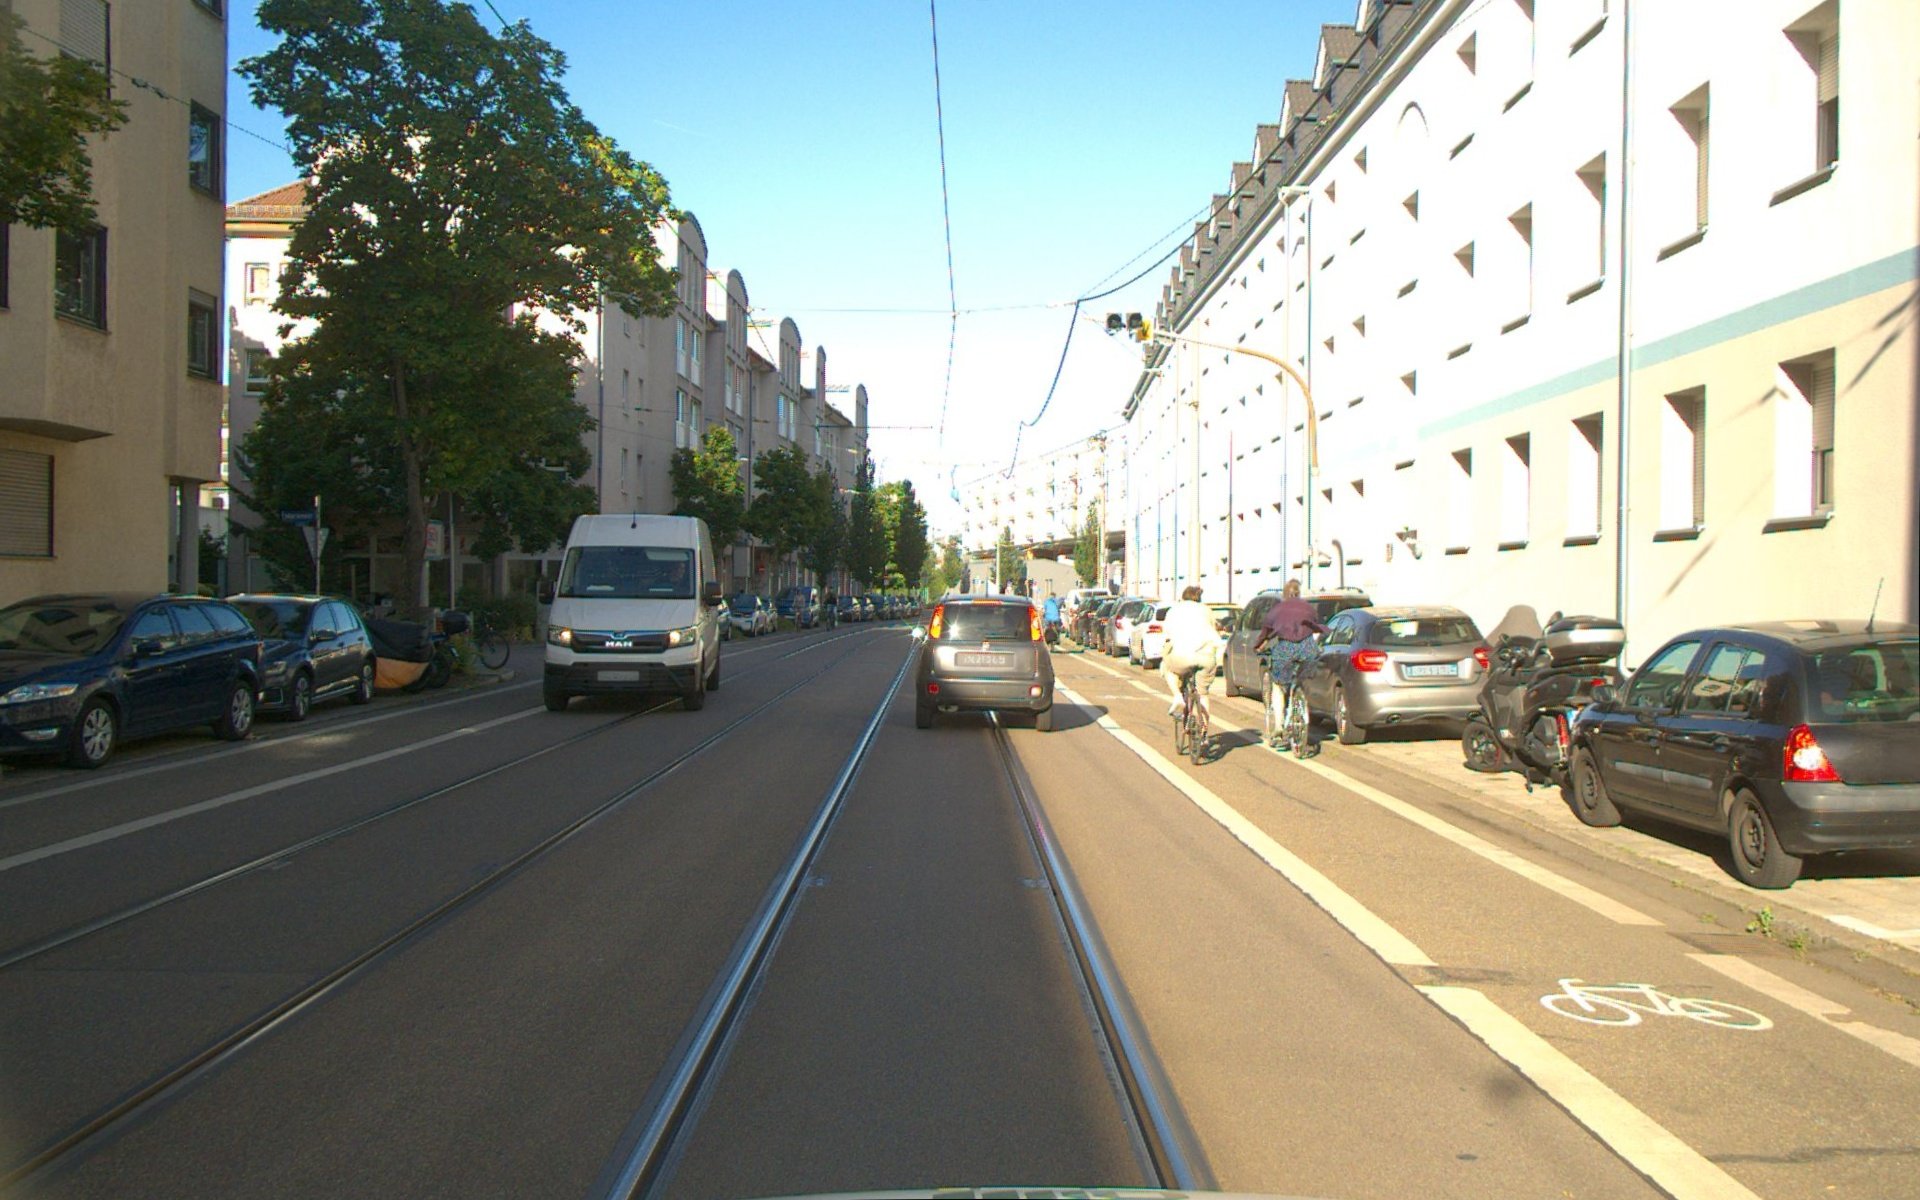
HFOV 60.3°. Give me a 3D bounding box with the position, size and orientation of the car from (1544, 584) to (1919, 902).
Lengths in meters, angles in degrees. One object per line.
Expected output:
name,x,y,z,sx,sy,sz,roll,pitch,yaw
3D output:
car,5.120,0.717,10.367,1.575,1.598,3.904,-1,0,1

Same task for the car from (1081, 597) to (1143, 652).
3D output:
car,4.574,0.717,50.276,1.559,1.564,4.008,-2,0,1

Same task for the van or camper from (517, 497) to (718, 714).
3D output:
van or camper,-4.629,0.063,23.391,2.325,2.598,6.822,1,0,-8

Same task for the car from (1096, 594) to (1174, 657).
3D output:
car,4.780,0.663,45.610,1.718,1.598,3.904,-3,0,1

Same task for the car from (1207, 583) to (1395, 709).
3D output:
car,5.001,0.623,24.889,1.719,1.695,4.624,-1,0,-2

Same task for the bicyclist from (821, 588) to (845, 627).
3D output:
bicyclist,-5.352,0.330,69.704,0.864,1.588,0.868,-3,0,-1

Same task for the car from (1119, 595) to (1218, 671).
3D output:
car,4.699,0.703,37.789,1.645,1.598,4.509,-1,0,0

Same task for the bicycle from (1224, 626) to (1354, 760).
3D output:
bicycle,3.449,0.938,17.575,0.804,1.258,2.461,2,0,-1

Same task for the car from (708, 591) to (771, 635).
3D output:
car,-8.548,0.485,64.507,1.792,1.621,4.001,1,0,2

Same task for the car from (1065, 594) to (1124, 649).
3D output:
car,4.488,0.679,55.660,1.626,1.699,3.904,-3,0,0

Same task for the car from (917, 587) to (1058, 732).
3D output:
car,0.261,0.644,19.836,1.525,1.560,3.485,1,0,-1

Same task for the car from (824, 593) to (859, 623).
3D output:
car,-6.749,0.454,94.423,1.630,1.646,4.001,1,0,1

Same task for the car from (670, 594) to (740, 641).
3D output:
car,-8.669,0.563,56.525,1.792,1.515,3.999,-1,0,-1

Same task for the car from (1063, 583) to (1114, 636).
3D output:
car,5.063,0.374,65.574,1.750,2.005,4.155,-1,0,1

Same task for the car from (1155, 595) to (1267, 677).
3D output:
car,5.004,0.677,33.462,1.483,1.455,4.200,-4,0,-1

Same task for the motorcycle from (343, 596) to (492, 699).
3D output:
motorcycle,-7.967,0.687,24.357,1.931,1.472,0.835,1,0,-8

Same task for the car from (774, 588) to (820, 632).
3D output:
car,-7.733,0.465,78.621,1.630,2.021,4.344,1,0,1

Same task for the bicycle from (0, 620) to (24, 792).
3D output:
bicycle,-8.733,0.828,13.069,2.246,1.357,0.699,1,0,-1

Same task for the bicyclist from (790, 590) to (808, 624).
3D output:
bicyclist,-6.810,0.283,70.032,0.610,1.404,0.868,-4,0,-1

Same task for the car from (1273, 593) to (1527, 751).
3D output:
car,4.923,0.730,19.144,1.825,1.582,4.367,-1,0,1

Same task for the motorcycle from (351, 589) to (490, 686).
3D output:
motorcycle,-8.333,0.573,25.619,1.931,1.472,0.719,1,0,-8

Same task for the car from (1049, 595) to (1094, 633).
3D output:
car,5.167,0.631,77.082,1.806,1.674,4.549,1,0,0

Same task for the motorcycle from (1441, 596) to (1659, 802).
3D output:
motorcycle,4.921,0.753,14.049,0.789,1.548,2.708,-2,0,-1

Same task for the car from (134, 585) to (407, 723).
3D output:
car,-8.660,0.616,21.180,1.699,1.569,4.129,1,0,1

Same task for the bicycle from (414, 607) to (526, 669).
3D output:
bicycle,-8.862,0.683,29.974,1.838,1.103,0.595,1,0,1

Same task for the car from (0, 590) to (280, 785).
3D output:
car,-8.382,0.699,15.809,1.729,1.569,4.734,1,0,1

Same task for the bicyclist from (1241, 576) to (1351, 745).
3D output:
bicyclist,3.480,0.611,17.190,0.915,1.705,0.969,1,0,-1

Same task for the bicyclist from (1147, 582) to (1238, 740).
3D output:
bicyclist,2.254,0.575,16.147,0.713,1.487,1.020,1,0,-1

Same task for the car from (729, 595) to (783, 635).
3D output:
car,-8.543,0.617,69.366,1.792,1.621,3.999,1,0,-1
